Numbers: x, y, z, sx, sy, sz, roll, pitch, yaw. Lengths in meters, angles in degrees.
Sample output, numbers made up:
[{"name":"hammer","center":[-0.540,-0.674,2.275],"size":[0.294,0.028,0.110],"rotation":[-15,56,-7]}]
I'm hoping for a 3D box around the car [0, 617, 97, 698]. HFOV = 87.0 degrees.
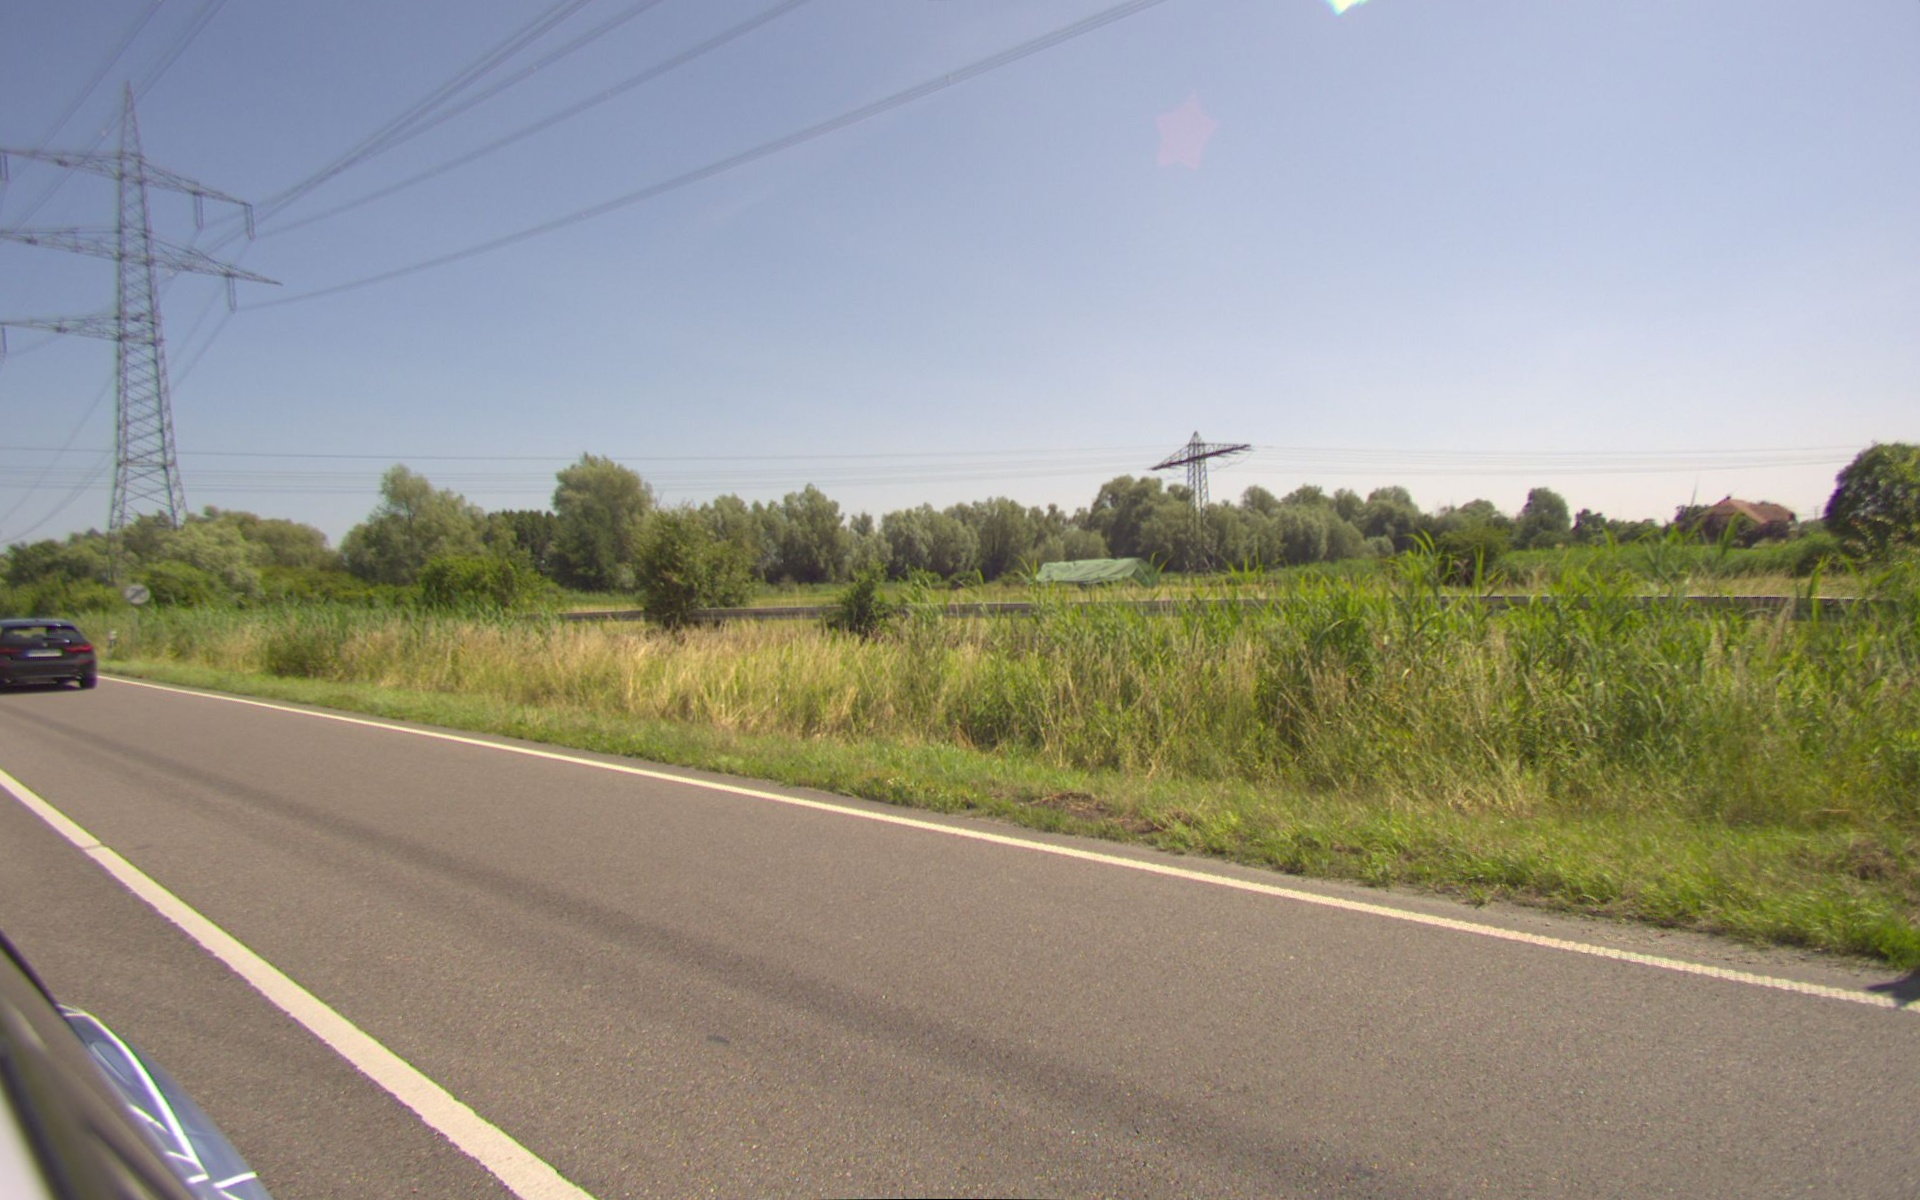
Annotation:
[{"name":"car","center":[-19.277,1.128,20.787],"size":[3.998,1.475,1.763],"rotation":[-1,0,41]}]
